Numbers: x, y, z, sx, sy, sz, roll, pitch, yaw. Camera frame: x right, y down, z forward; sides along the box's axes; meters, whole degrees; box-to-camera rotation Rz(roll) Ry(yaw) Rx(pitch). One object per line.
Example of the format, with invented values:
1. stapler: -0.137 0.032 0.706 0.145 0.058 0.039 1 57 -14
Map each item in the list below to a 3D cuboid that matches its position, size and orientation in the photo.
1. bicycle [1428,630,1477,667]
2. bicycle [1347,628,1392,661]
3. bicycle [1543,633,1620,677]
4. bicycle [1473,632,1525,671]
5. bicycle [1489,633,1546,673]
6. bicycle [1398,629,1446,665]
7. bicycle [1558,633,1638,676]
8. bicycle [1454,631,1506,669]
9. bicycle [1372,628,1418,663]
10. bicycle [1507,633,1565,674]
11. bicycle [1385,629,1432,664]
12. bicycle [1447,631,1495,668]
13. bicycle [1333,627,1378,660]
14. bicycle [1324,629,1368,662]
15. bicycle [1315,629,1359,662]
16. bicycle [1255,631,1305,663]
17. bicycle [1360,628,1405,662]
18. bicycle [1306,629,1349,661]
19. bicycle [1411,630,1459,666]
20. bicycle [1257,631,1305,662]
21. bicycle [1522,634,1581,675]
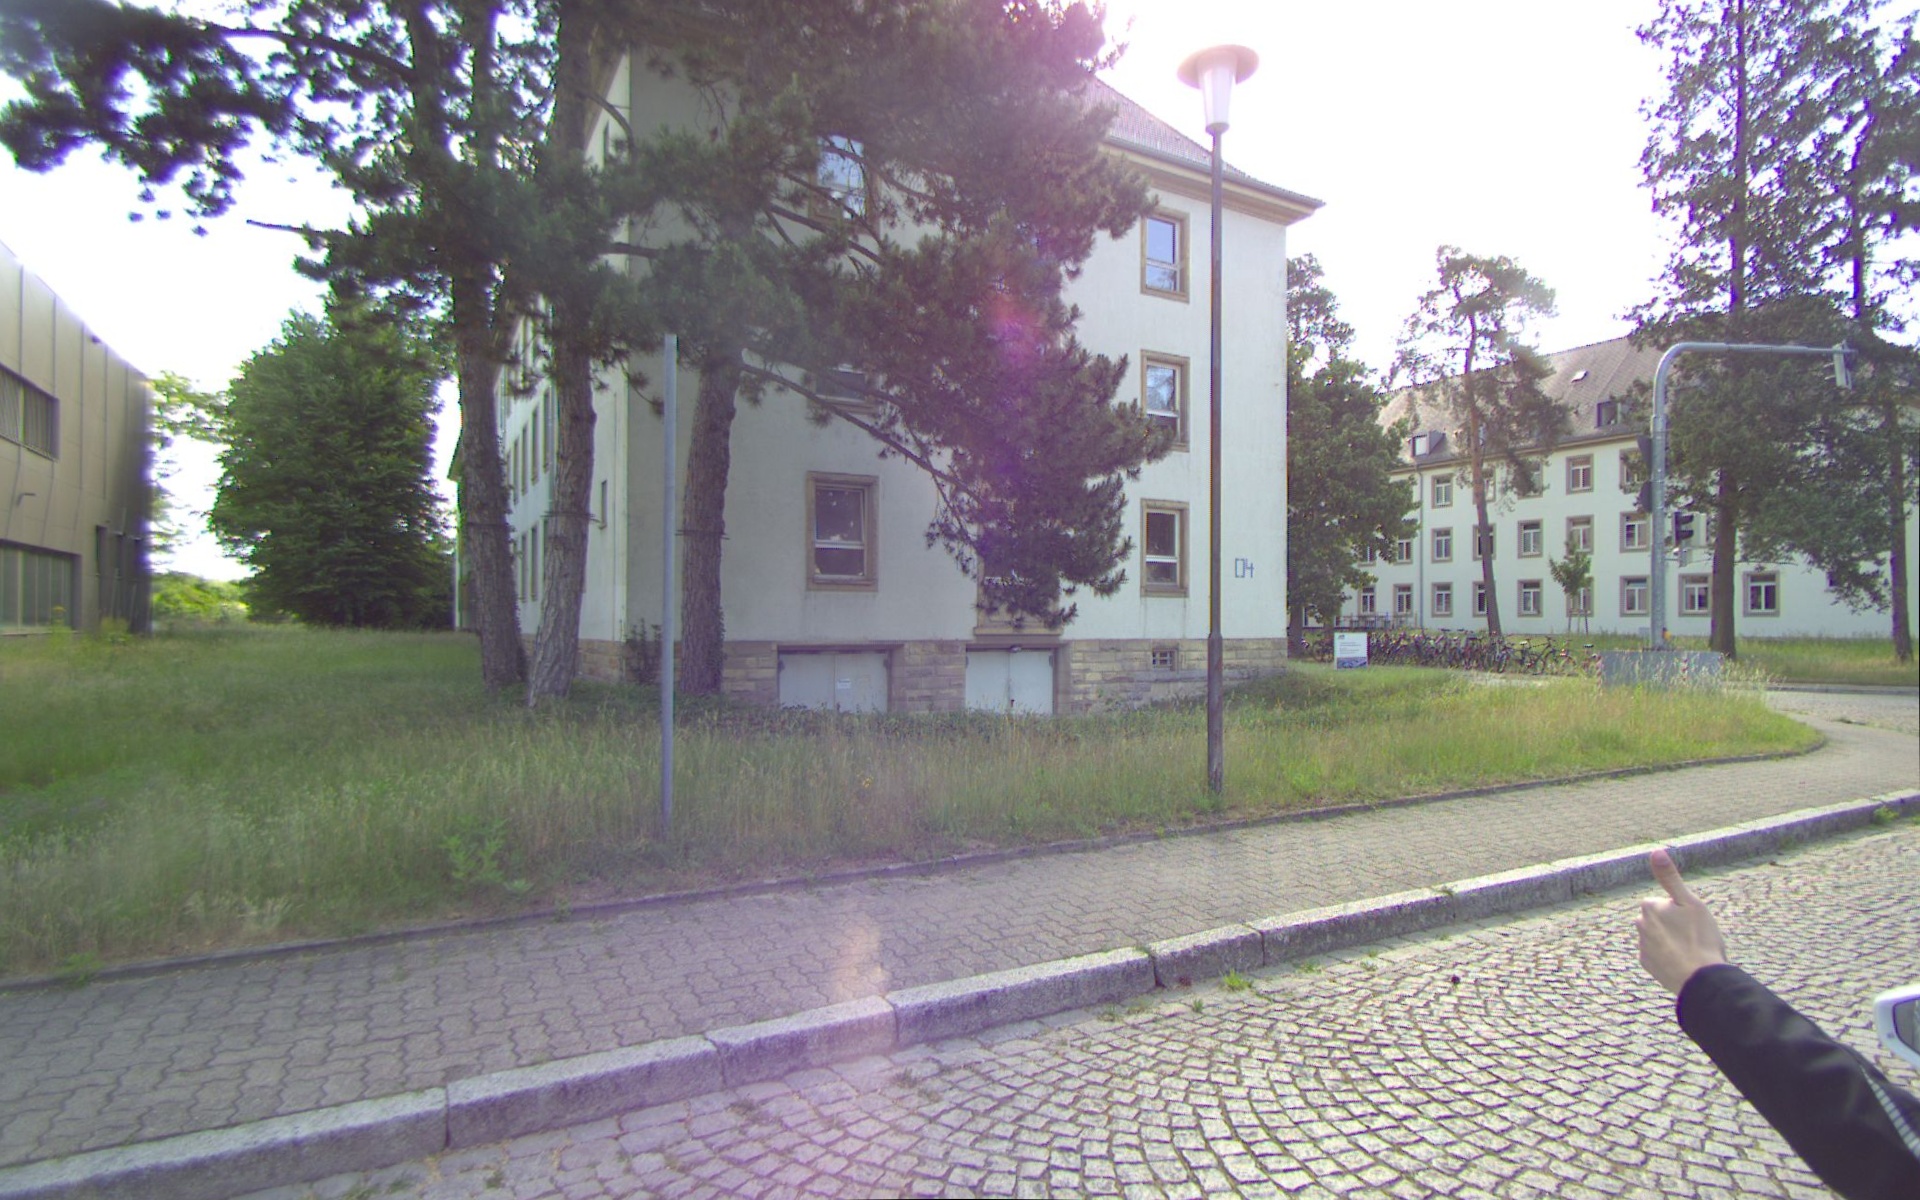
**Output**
1. bicycle: 17.006 1.665 34.653 1.992 1.237 0.512 1 -1 -31
2. bicycle: 15.328 1.652 37.587 1.914 1.237 0.512 1 -1 -31
3. bicycle: 18.251 1.607 29.549 0.627 1.237 1.853 1 -1 -29
4. bicycle: 17.664 1.664 32.915 1.966 1.237 0.569 1 -1 -31
5. bicycle: 17.753 1.660 31.975 2.080 1.237 0.630 1 -1 -31
6. bicycle: 16.394 1.658 35.642 1.954 1.237 0.512 1 -1 -31
7. bicycle: 18.909 1.596 29.818 0.627 1.237 1.936 1 -1 -29
8. bicycle: 17.410 1.666 33.632 2.005 1.237 0.576 1 -1 -31
9. bicycle: 15.848 1.653 36.573 1.914 1.237 0.512 1 -1 -31
10. bicycle: 18.041 1.660 31.444 2.099 1.237 0.630 1 -1 -31
11. bicycle: 16.110 1.654 36.084 1.931 1.237 0.512 1 -1 -31
12. bicycle: 17.490 1.669 34.344 1.877 1.237 0.545 1 -1 -31
13. bicycle: 15.021 1.651 38.113 1.914 1.237 0.512 1 -1 -31
14. bicycle: 14.797 1.743 38.518 1.914 1.237 0.512 1 -1 -31
15. bicycle: 14.588 1.742 38.892 1.914 1.237 0.512 1 -1 -31
16. bicycle: 12.502 1.835 39.273 1.794 1.237 0.515 -1 -1 25
17. bicycle: 15.601 1.653 37.061 1.914 1.237 0.512 1 -1 -31
18. bicycle: 14.375 1.742 39.287 1.914 1.237 0.512 1 -1 -31
19. bicycle: 16.651 1.663 35.194 1.954 1.237 0.512 1 -1 -31
20. bicycle: 12.740 1.834 39.876 1.794 1.237 0.515 -1 -1 25
21. bicycle: 18.284 1.660 31.027 2.089 1.237 0.630 1 -1 -31
